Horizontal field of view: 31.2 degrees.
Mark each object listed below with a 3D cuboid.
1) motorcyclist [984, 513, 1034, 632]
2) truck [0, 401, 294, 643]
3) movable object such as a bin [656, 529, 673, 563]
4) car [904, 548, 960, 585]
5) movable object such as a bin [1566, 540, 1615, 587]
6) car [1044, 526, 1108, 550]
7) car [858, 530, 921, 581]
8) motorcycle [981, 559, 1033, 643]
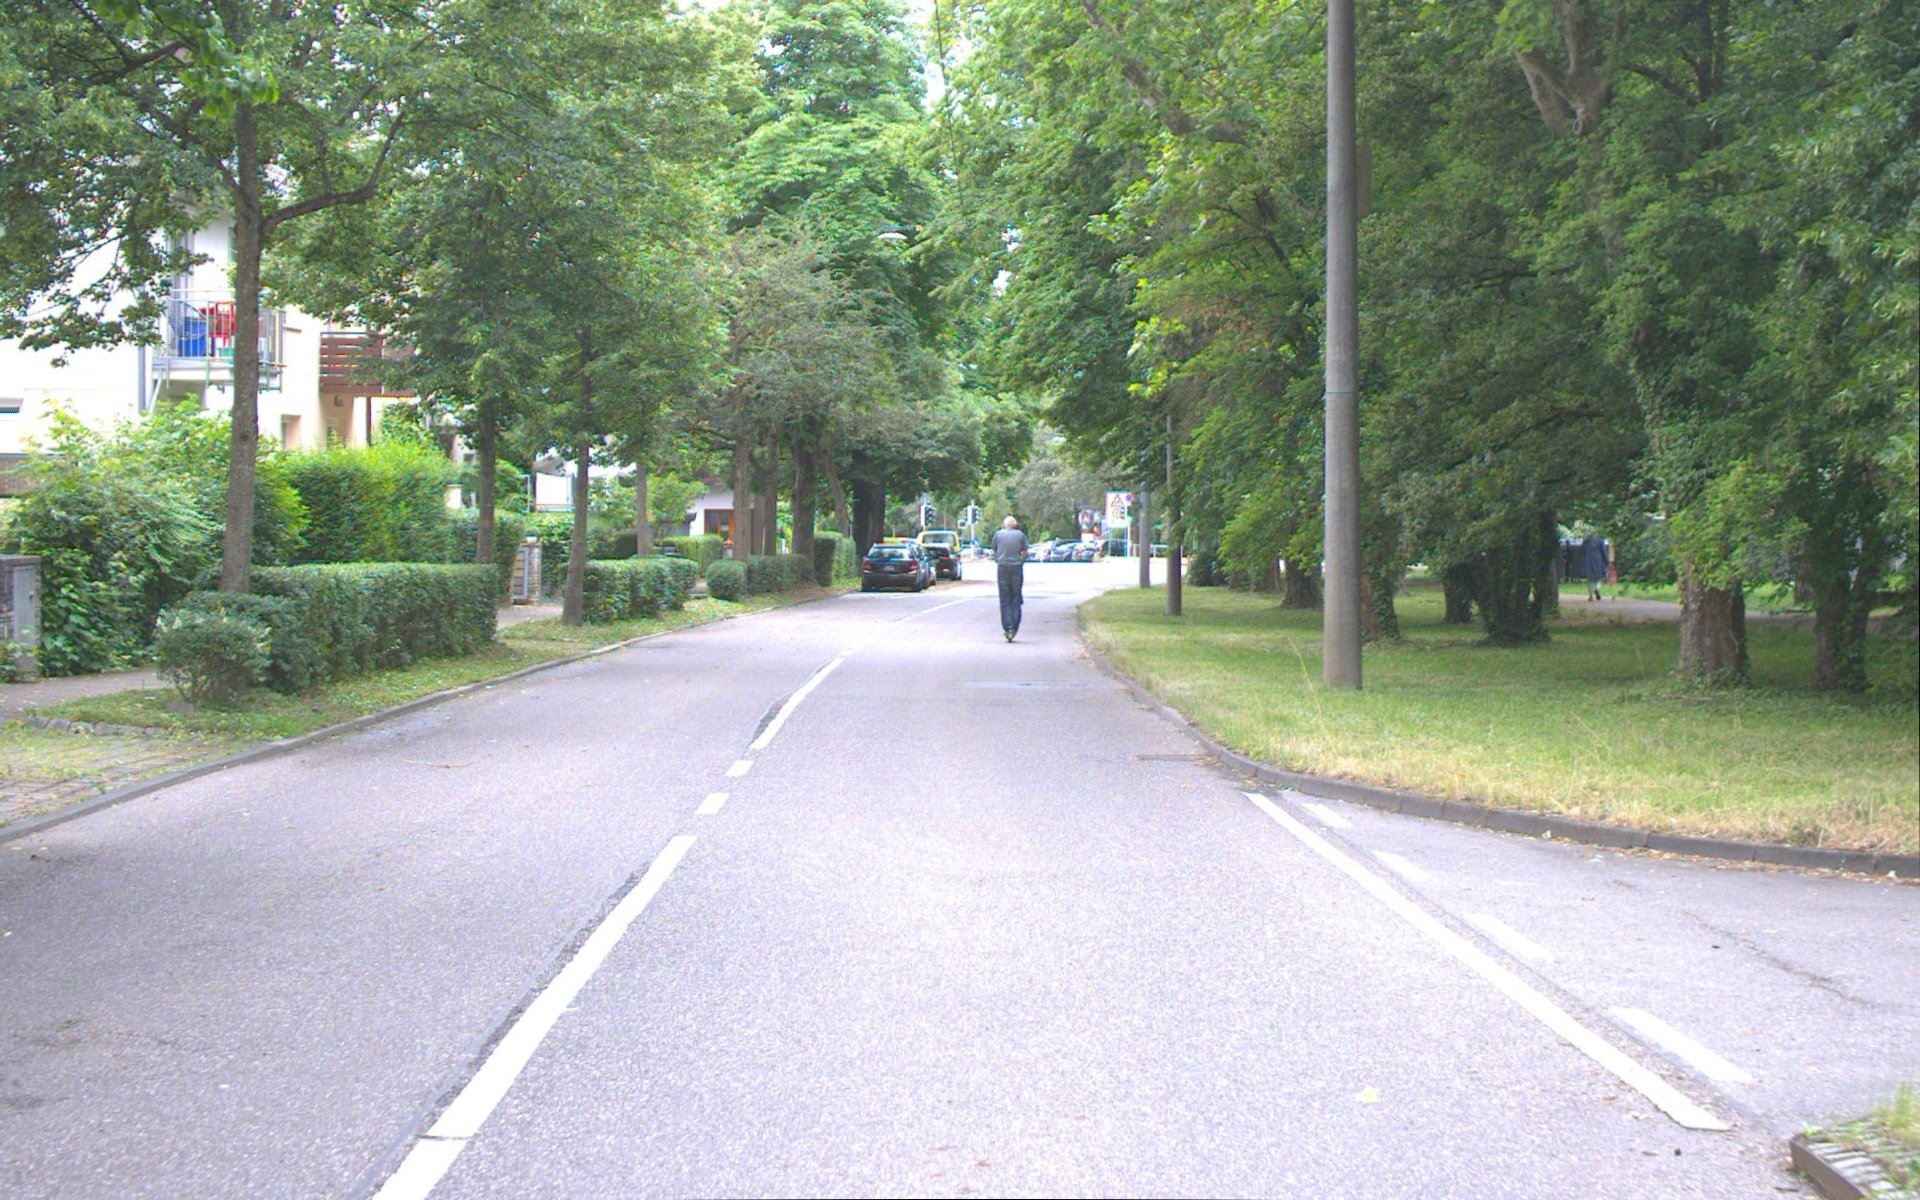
[{"bbox_3d":[0.741,-0.420,51.824,0.673,1.755,0.639,2,1,4],"label":"motorcyclist"},{"bbox_3d":[-12.074,-1.055,46.087,5.796,3.120,2.518,1,1,0],"label":"truck"},{"bbox_3d":[-8.155,-1.490,94.981,0.456,0.912,0.508,0,1,-3],"label":"movable object such as a bin"},{"bbox_3d":[-1.074,-1.303,134.642,1.892,1.405,4.553,0,0,3],"label":"car"},{"bbox_3d":[20.315,-1.189,110.808,1.326,1.496,1.314,-1,1,0],"label":"movable object such as a bin"},{"bbox_3d":[7.259,-3.886,215.292,3.987,1.505,1.800,0,1,0],"label":"car"},{"bbox_3d":[-2.101,-1.346,103.568,1.794,1.467,4.418,0,1,0],"label":"car"},{"bbox_3d":[0.716,0.007,51.589,0.673,1.213,1.273,2,1,4],"label":"motorcycle"}]
